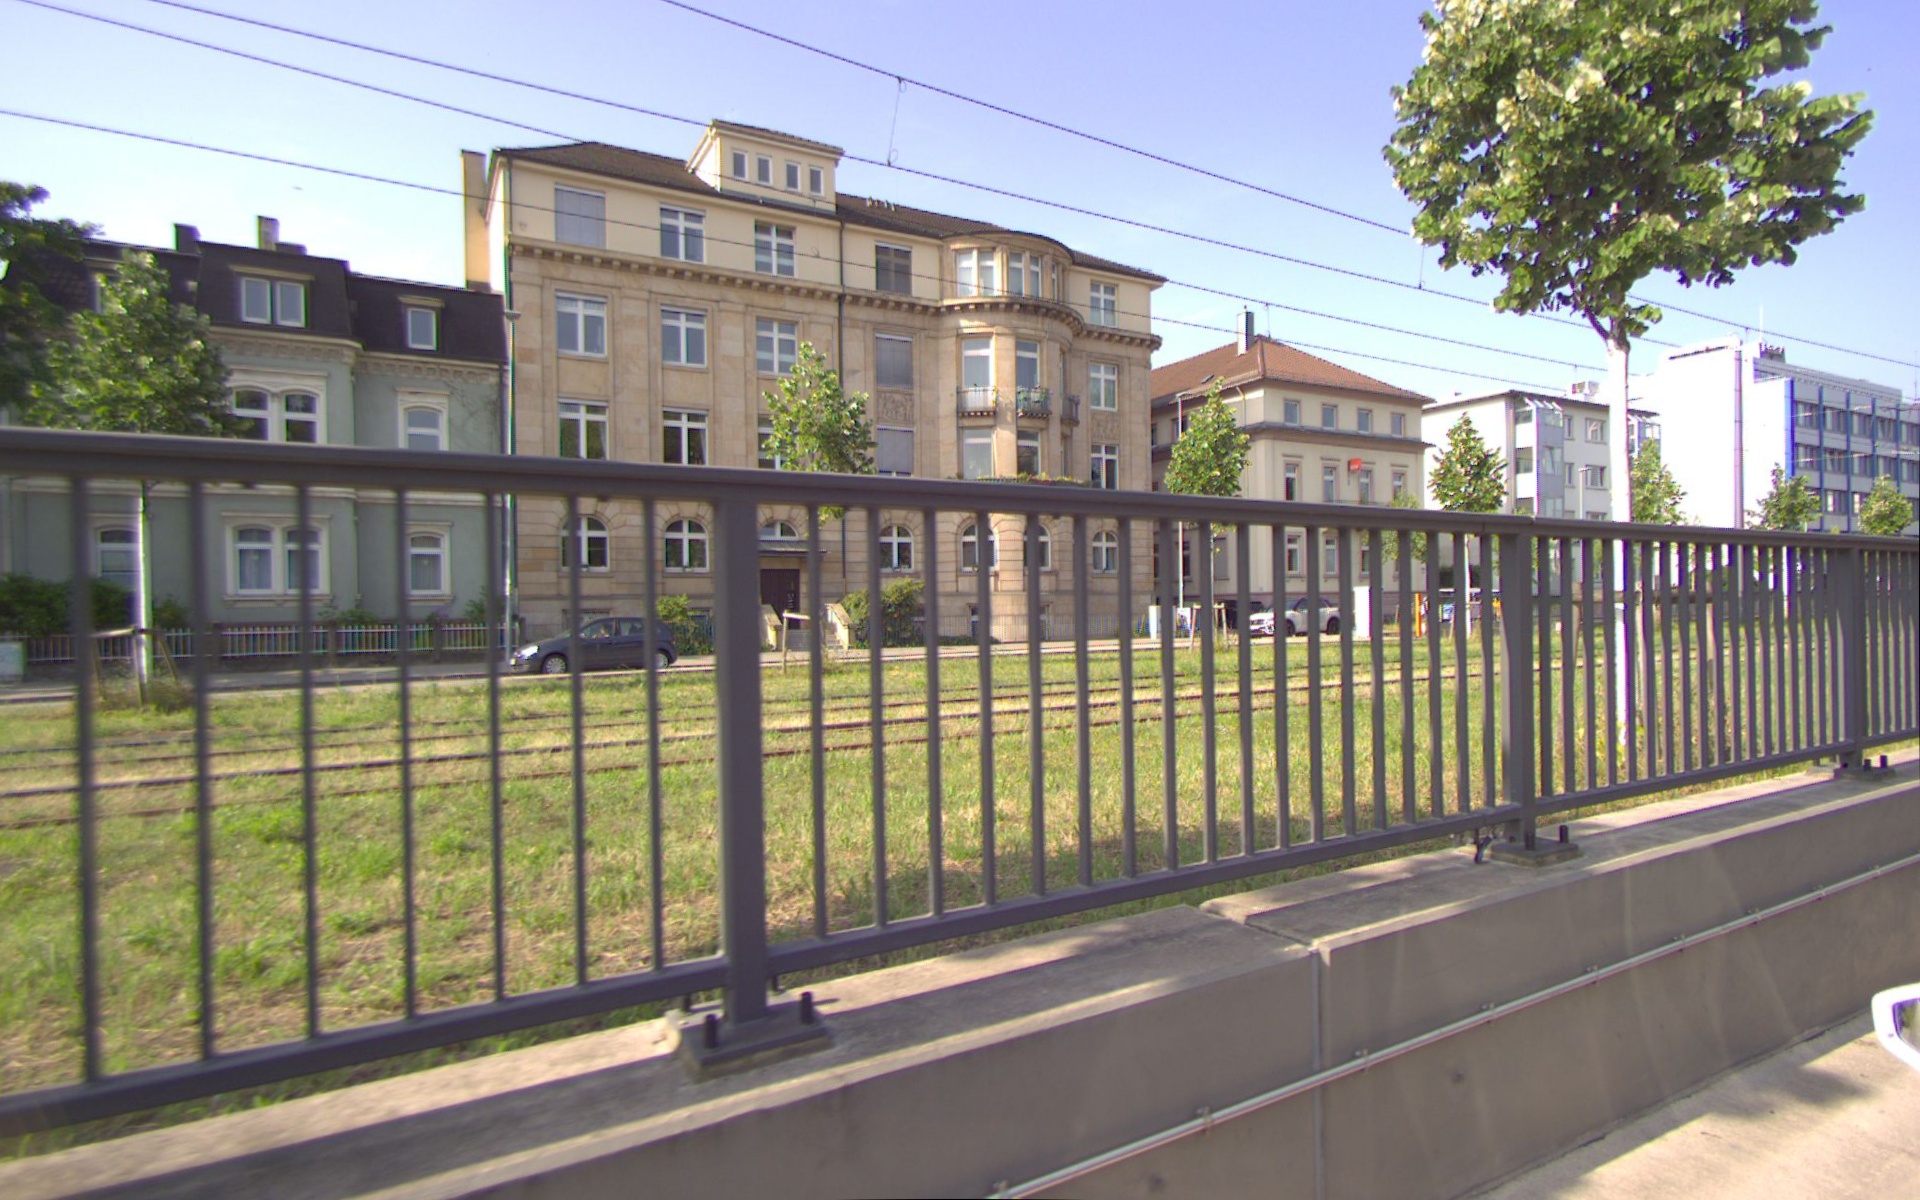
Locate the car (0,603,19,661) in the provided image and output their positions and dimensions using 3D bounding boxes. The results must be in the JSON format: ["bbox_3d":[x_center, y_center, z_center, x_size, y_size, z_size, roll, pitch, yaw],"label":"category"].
[{"bbox_3d":[-30.322,0.980,30.058,2.139,1.772,4.607,-1,-1,-30],"label":"car"}]

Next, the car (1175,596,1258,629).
[{"bbox_3d":[12.780,0.639,50.213,1.636,1.572,3.965,-1,-1,-33],"label":"car"}]

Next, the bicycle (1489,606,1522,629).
[{"bbox_3d":[26.771,0.855,49.277,1.855,1.107,0.529,1,1,-32],"label":"bicycle"}]

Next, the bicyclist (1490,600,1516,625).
[{"bbox_3d":[26.586,0.615,49.156,1.237,1.194,0.529,1,1,-32],"label":"bicyclist"}]

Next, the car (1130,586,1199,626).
[{"bbox_3d":[11.211,0.315,55.248,1.581,2.040,3.905,1,1,-28],"label":"car"}]

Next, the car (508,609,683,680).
[{"bbox_3d":[-8.915,1.055,24.652,3.780,1.483,1.511,-2,0,-31],"label":"car"}]

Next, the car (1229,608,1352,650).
[{"bbox_3d":[12.507,1.092,37.994,4.384,1.486,1.985,1,-1,-29],"label":"car"}]

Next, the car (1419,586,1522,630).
[{"bbox_3d":[25.983,0.409,51.120,5.203,2.040,2.238,1,1,-31],"label":"car"}]
